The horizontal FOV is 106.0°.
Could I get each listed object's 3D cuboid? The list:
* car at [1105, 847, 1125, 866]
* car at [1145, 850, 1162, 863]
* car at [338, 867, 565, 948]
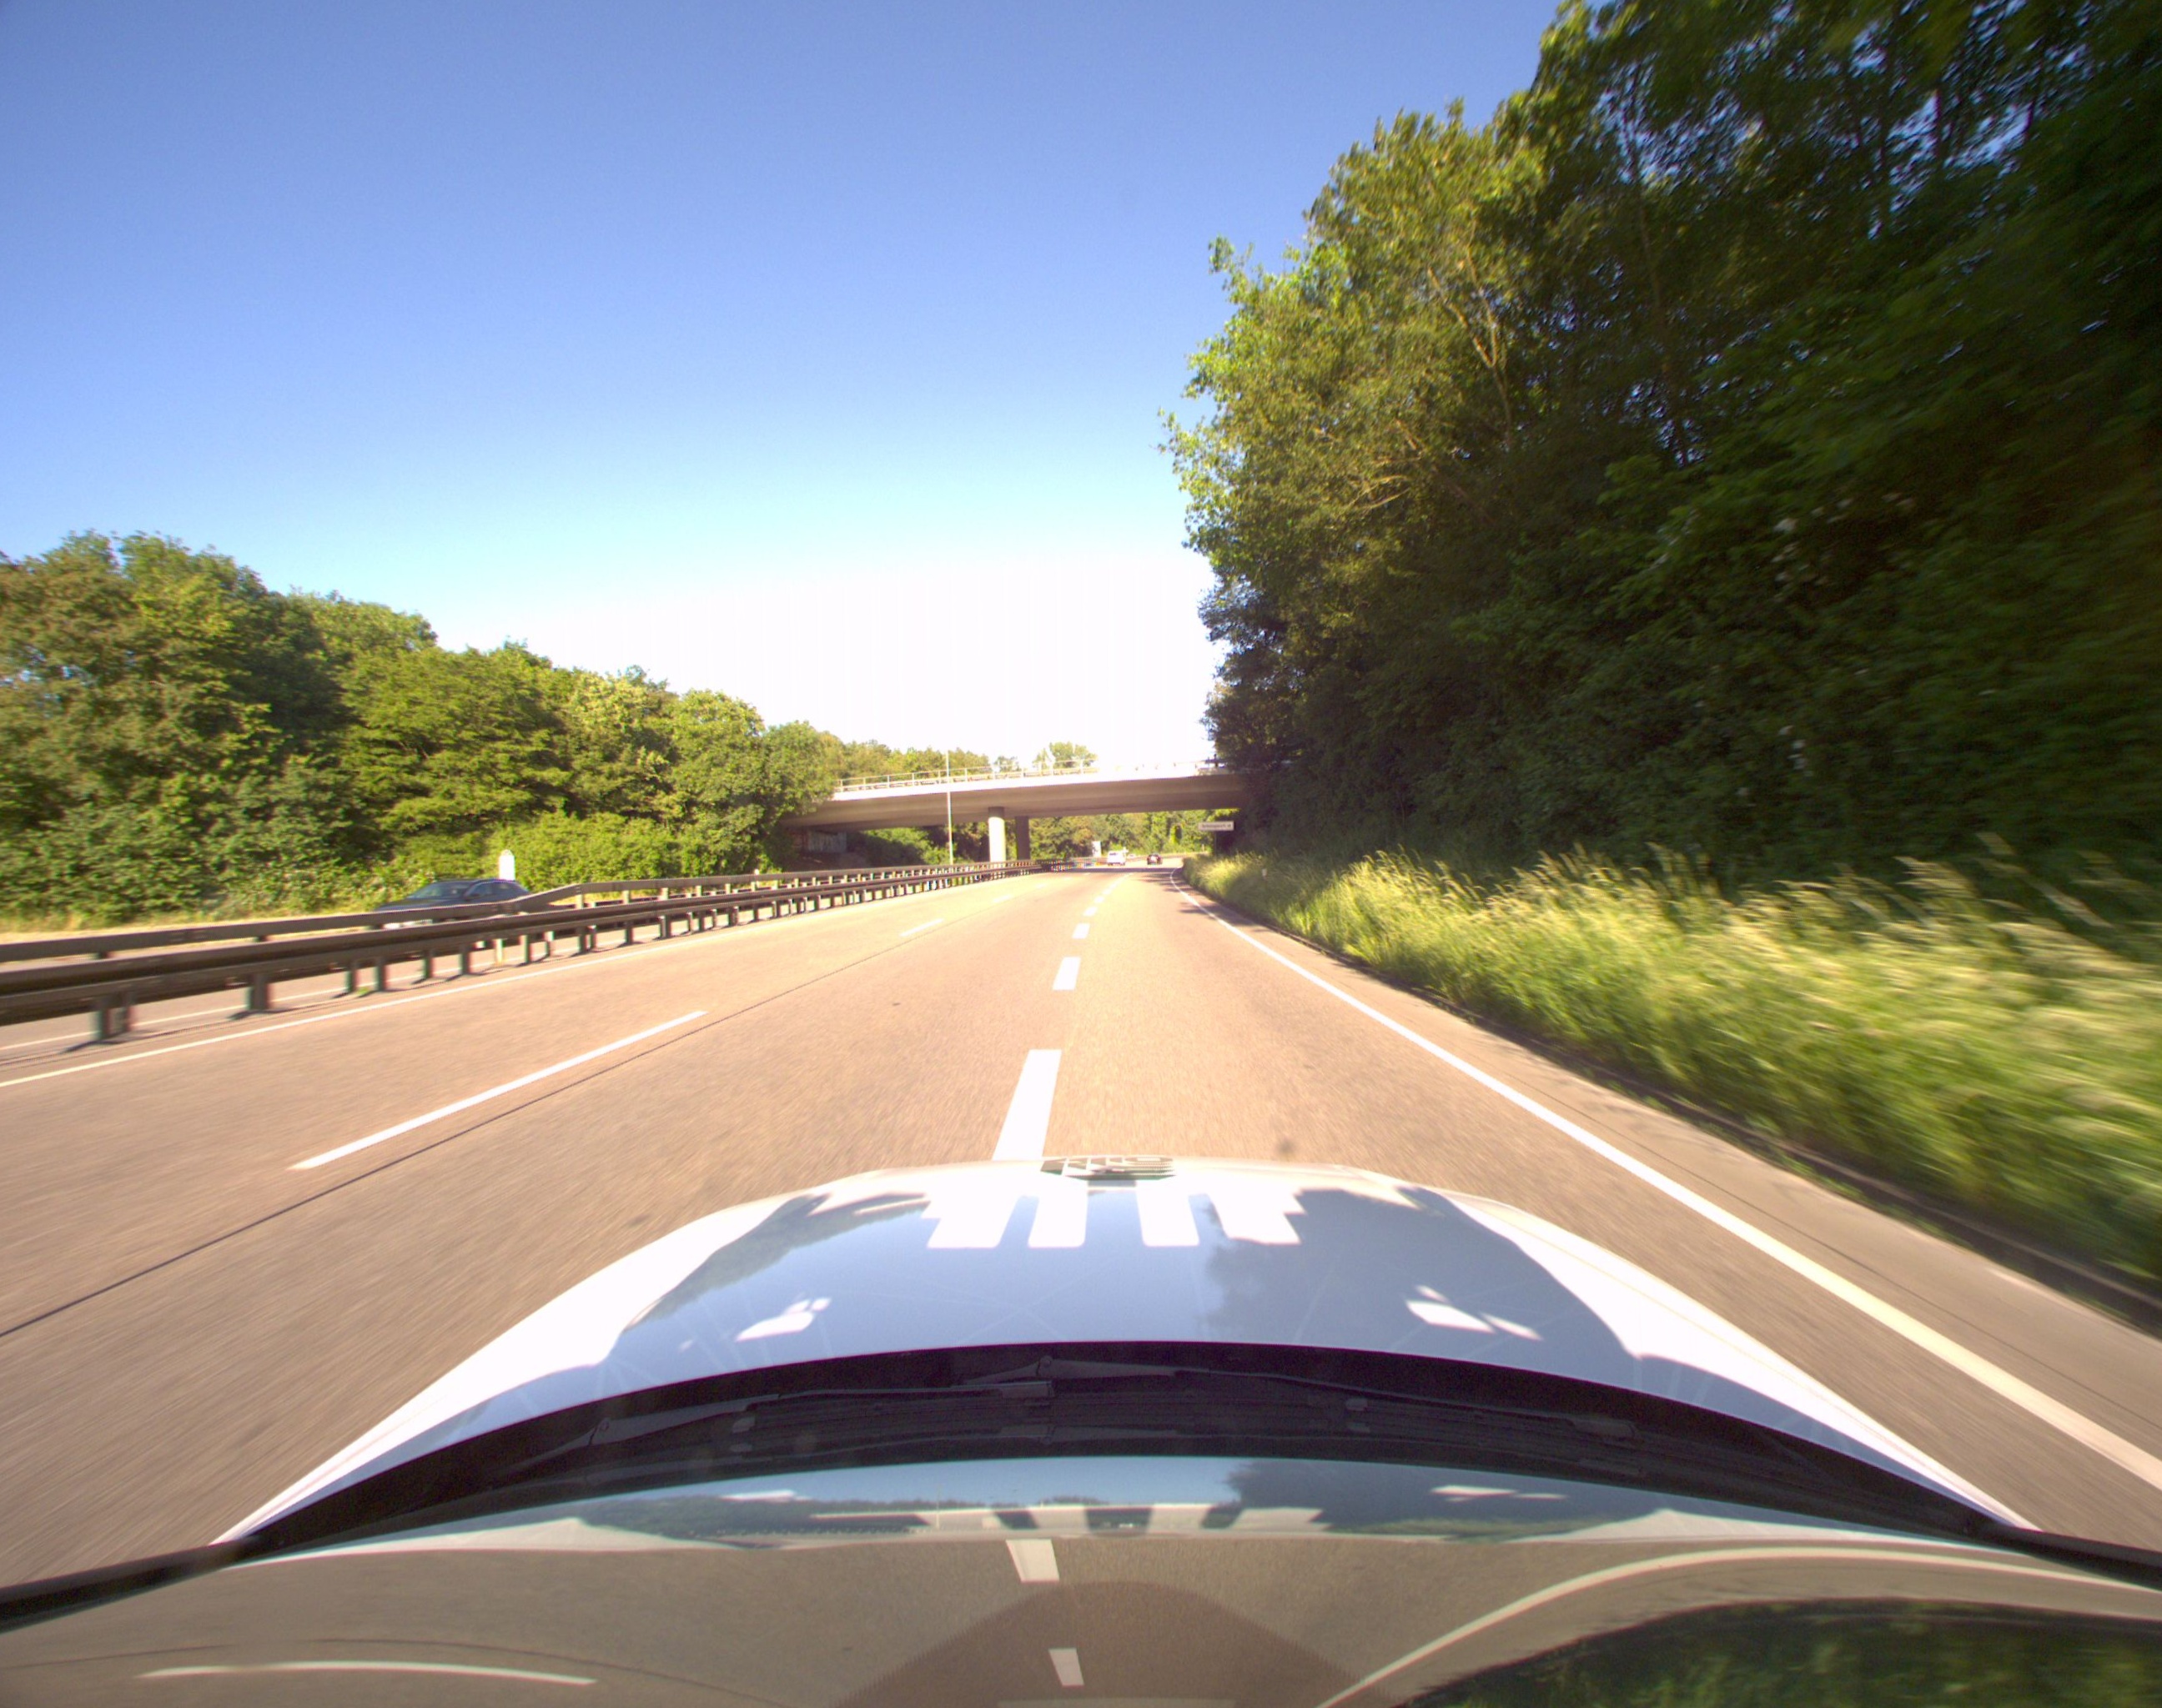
[{"bbox_3d":[4.260,0.332,101.375,1.983,2.277,4.008,-2,0,7],"label":"car"},{"bbox_3d":[9.744,0.285,109.171,1.727,1.662,3.960,-2,0,13],"label":"car"},{"bbox_3d":[-16.984,1.342,22.444,1.986,1.848,5.313,-1,0,2],"label":"car"}]
